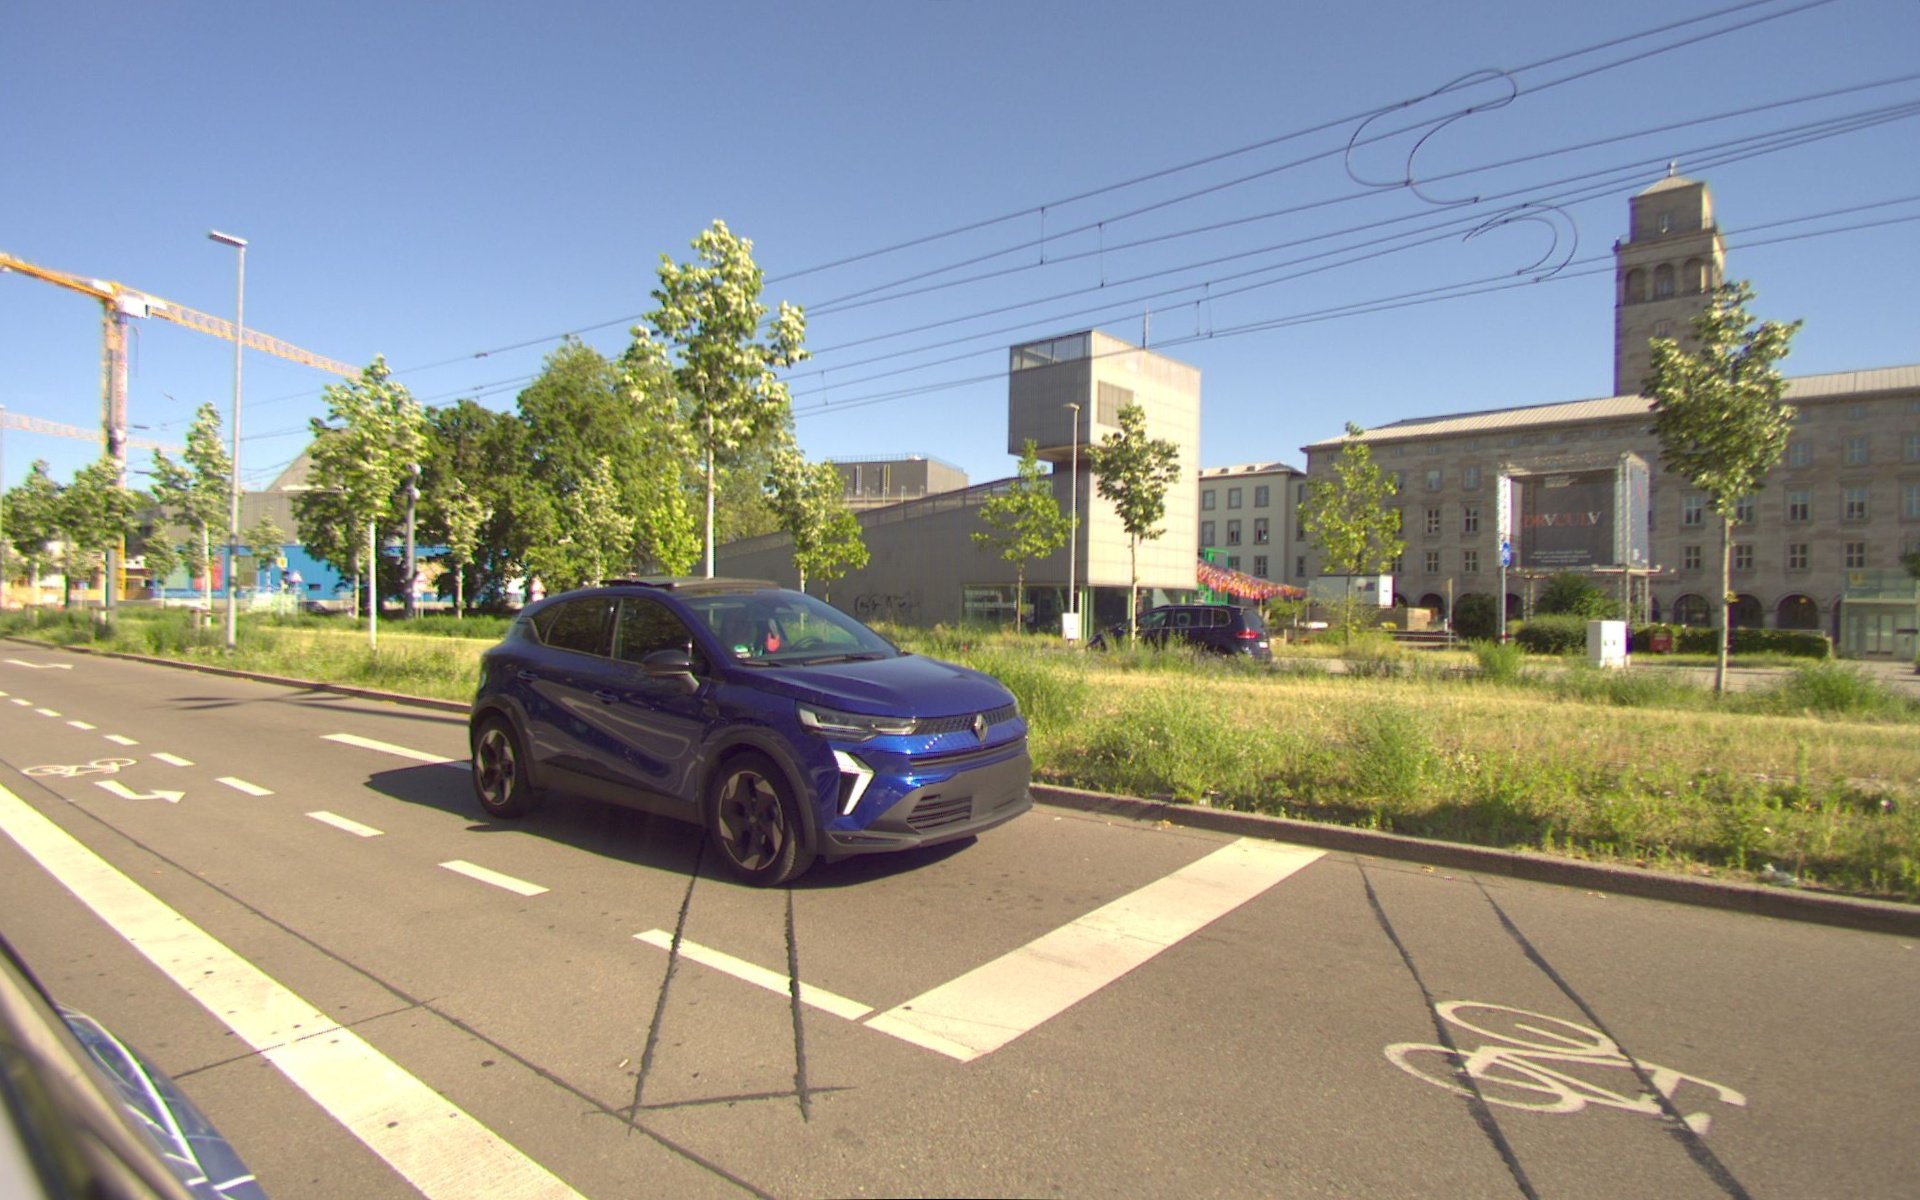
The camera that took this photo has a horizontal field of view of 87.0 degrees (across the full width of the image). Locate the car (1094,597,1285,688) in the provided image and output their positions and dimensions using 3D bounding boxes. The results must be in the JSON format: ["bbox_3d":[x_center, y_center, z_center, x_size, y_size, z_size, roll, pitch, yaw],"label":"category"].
[{"bbox_3d":[5.347,0.926,23.832,3.996,1.970,1.852,0,-1,39],"label":"car"}]

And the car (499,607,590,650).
[{"bbox_3d":[-17.072,1.129,41.538,4.089,1.702,1.807,0,-1,41],"label":"car"}]

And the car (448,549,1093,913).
[{"bbox_3d":[-1.372,0.551,6.399,4.082,1.600,1.753,0,1,38],"label":"car"}]
